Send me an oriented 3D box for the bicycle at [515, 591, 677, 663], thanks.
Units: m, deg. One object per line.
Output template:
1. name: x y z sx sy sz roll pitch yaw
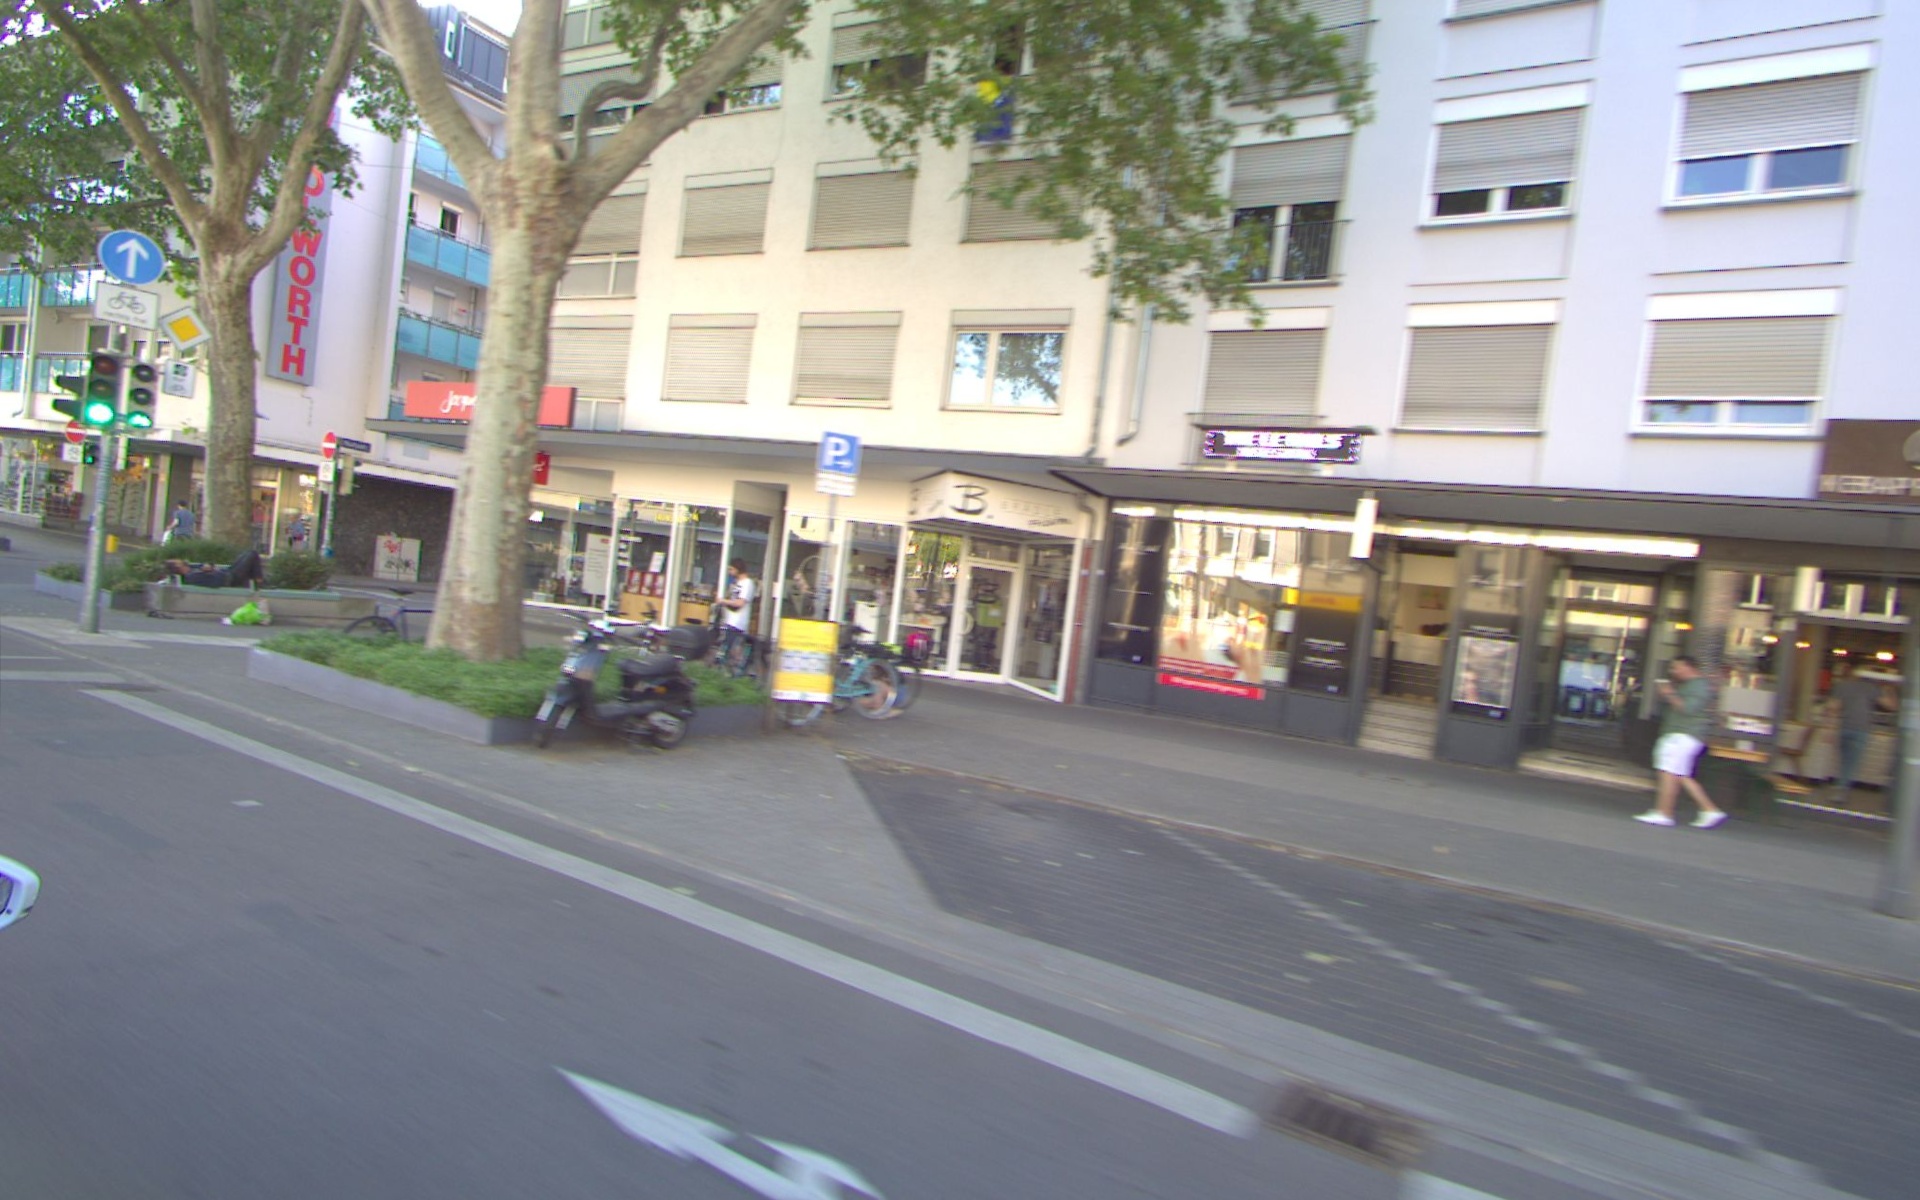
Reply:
1. bicycle: -4.767 0.374 13.283 0.701 0.775 1.874 7 0 40

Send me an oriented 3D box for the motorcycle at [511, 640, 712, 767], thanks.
1. motorcycle: -2.863 0.832 8.425 0.535 0.903 1.572 7 0 29

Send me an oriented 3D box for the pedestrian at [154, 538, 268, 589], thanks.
1. pedestrian: -11.287 -0.537 15.193 0.474 0.596 1.256 7 -1 30

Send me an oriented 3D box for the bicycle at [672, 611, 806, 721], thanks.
1. bicycle: -2.730 0.778 12.624 0.660 1.205 1.788 6 2 23

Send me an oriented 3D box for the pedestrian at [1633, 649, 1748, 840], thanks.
1. pedestrian: 7.666 1.474 10.564 0.776 1.816 0.705 7 4 38

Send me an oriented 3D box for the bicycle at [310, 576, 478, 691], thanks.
1. bicycle: -6.415 0.407 11.487 0.453 1.117 1.513 7 -3 32

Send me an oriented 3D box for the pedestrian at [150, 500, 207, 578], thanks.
1. pedestrian: -19.484 -1.512 25.088 0.751 1.816 0.781 7 1 32

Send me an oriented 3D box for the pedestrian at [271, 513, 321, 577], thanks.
1. pedestrian: -19.200 -1.578 29.096 0.820 1.700 0.749 9 2 26

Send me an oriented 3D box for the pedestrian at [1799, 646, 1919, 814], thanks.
1. pedestrian: 11.062 1.569 12.417 0.725 1.900 0.912 7 1 28

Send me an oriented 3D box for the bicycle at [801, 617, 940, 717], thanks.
1. bicycle: -1.144 0.874 13.174 0.668 1.169 1.761 7 2 40

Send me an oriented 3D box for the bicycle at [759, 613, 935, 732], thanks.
1. bicycle: -1.318 0.866 12.175 0.818 1.248 2.079 7 1 36

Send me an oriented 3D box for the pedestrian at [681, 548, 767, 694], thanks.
1. pedestrian: -3.272 0.295 13.992 0.808 1.900 0.645 6 1 9

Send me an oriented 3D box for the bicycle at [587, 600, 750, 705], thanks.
1. bicycle: -3.707 0.655 12.921 0.701 1.205 1.872 7 3 40
